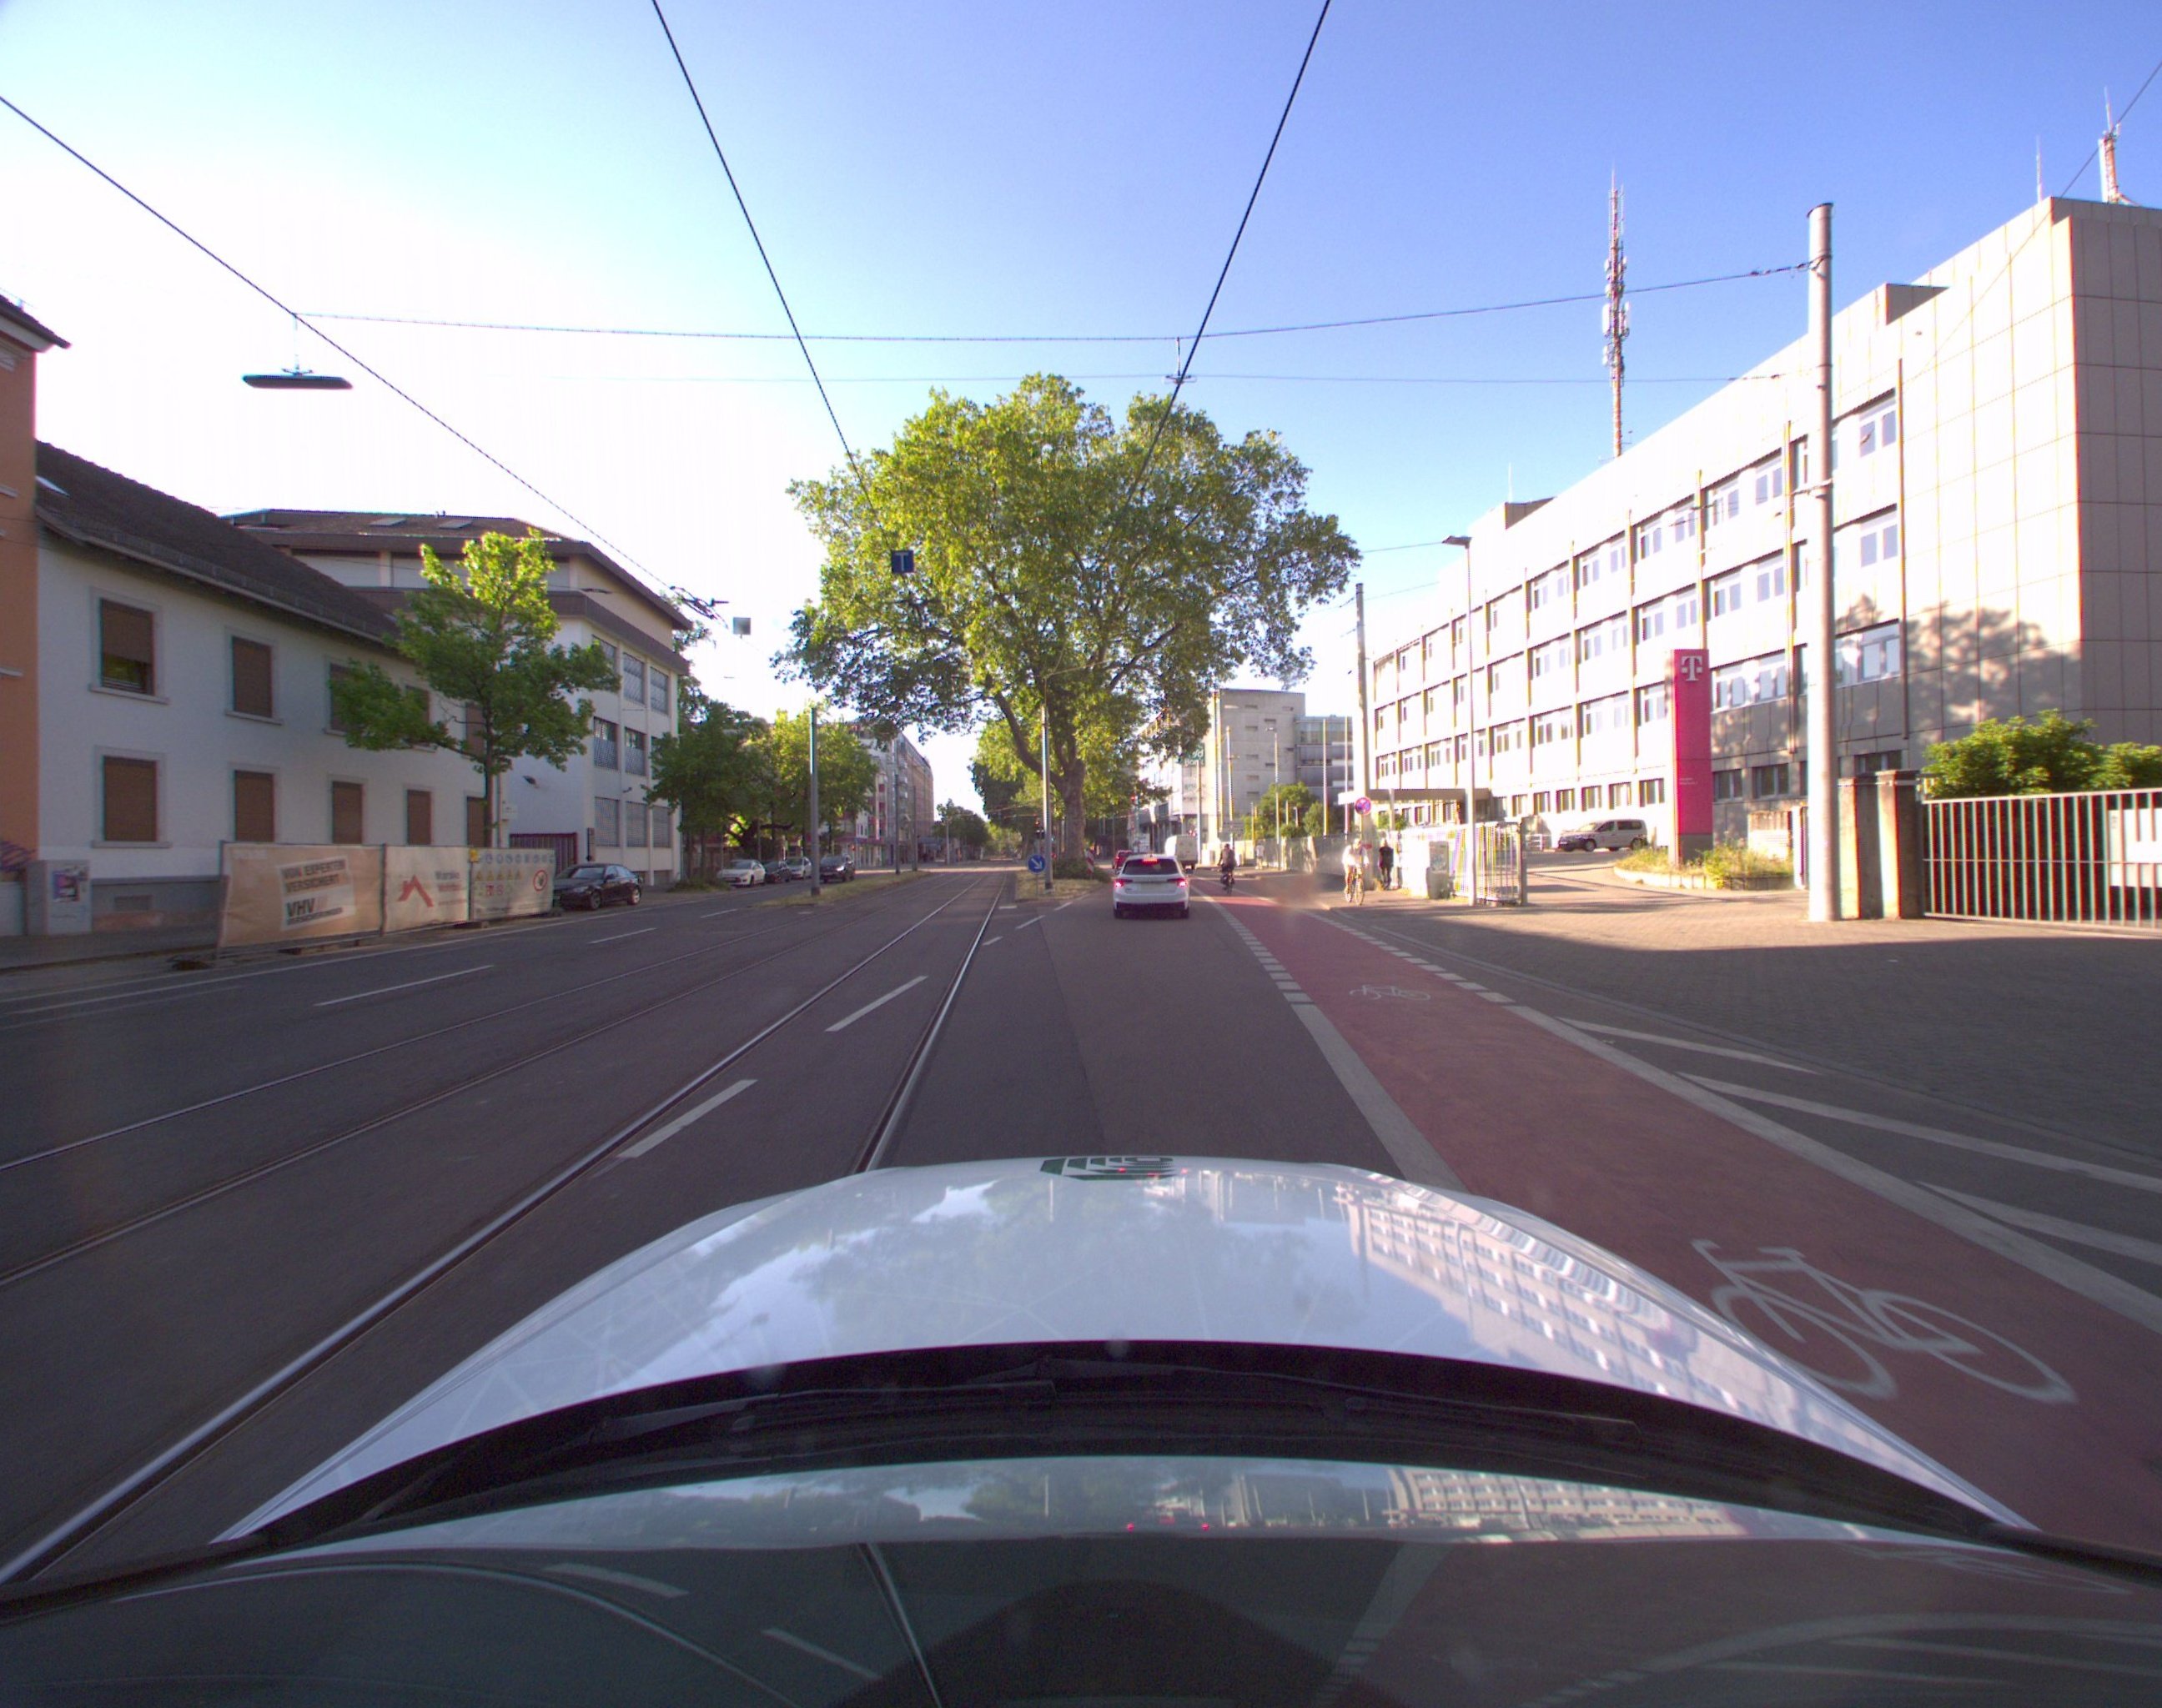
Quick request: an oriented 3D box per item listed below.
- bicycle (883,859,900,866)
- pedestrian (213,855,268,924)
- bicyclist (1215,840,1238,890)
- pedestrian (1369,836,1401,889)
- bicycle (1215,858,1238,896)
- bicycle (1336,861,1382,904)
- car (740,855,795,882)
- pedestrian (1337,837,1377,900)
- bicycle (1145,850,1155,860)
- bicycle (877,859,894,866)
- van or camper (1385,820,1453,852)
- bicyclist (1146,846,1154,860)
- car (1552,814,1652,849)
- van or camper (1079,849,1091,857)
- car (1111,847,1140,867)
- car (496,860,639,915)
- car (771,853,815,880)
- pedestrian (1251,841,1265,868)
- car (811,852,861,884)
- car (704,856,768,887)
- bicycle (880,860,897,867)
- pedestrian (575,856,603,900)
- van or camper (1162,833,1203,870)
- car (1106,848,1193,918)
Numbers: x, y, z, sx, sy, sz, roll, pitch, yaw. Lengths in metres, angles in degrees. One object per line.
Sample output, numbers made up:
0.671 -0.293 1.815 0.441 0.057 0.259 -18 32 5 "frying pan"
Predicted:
-25.819 1.138 110.794 2.168 0.824 0.526 -2 0 -9 "bicycle"
-19.687 0.816 19.083 0.593 1.570 0.638 -1 0 -7 "pedestrian"
4.994 0.367 27.926 0.738 1.669 0.747 0 0 10 "bicyclist"
9.919 0.274 26.606 0.693 1.684 0.931 -1 0 3 "pedestrian"
4.998 0.753 27.945 0.739 1.224 2.162 0 1 10 "bicycle"
7.408 0.746 21.804 0.671 1.032 1.903 -4 0 5 "bicycle"
-18.962 0.859 49.492 1.992 1.476 4.638 -1 0 -7 "car"
7.394 0.369 21.857 0.666 1.619 1.103 -4 0 3 "pedestrian"
8.675 0.136 102.294 0.792 1.161 2.494 -1 0 -7 "bicycle"
-26.035 1.157 108.649 2.168 0.787 0.639 -2 0 -9 "bicycle"
22.153 -1.134 53.550 1.978 1.908 4.990 -2 0 -6 "van or camper"
8.657 -0.133 102.394 0.784 1.634 0.637 -1 0 -8 "bicyclist"
28.008 -1.194 43.851 4.246 1.718 1.989 -1 0 -6 "car"
0.916 -0.244 191.058 2.144 1.750 4.420 -2 0 -8 "van or camper"
3.586 0.242 65.616 1.836 1.489 3.710 -1 0 -5 "car"
-16.406 0.998 26.373 1.991 1.513 4.715 -1 0 -6 "car"
-19.842 0.825 56.309 1.992 1.689 4.168 -1 0 -7 "car"
12.023 0.020 55.222 0.782 1.748 0.773 -2 0 5 "pedestrian"
-14.110 0.768 47.073 1.992 1.689 4.299 -1 0 -7 "car"
-18.373 0.896 43.610 1.992 1.470 4.395 -1 0 -7 "car"
-25.853 1.259 109.517 2.168 0.787 0.490 -2 0 -9 "bicycle"
-18.477 0.891 30.581 0.634 1.620 0.730 0 0 -6 "pedestrian"
7.858 -0.203 63.599 2.262 2.733 6.344 1 0 -1 "van or camper"
1.752 0.624 19.588 1.791 1.501 3.991 0 0 9 "car"
